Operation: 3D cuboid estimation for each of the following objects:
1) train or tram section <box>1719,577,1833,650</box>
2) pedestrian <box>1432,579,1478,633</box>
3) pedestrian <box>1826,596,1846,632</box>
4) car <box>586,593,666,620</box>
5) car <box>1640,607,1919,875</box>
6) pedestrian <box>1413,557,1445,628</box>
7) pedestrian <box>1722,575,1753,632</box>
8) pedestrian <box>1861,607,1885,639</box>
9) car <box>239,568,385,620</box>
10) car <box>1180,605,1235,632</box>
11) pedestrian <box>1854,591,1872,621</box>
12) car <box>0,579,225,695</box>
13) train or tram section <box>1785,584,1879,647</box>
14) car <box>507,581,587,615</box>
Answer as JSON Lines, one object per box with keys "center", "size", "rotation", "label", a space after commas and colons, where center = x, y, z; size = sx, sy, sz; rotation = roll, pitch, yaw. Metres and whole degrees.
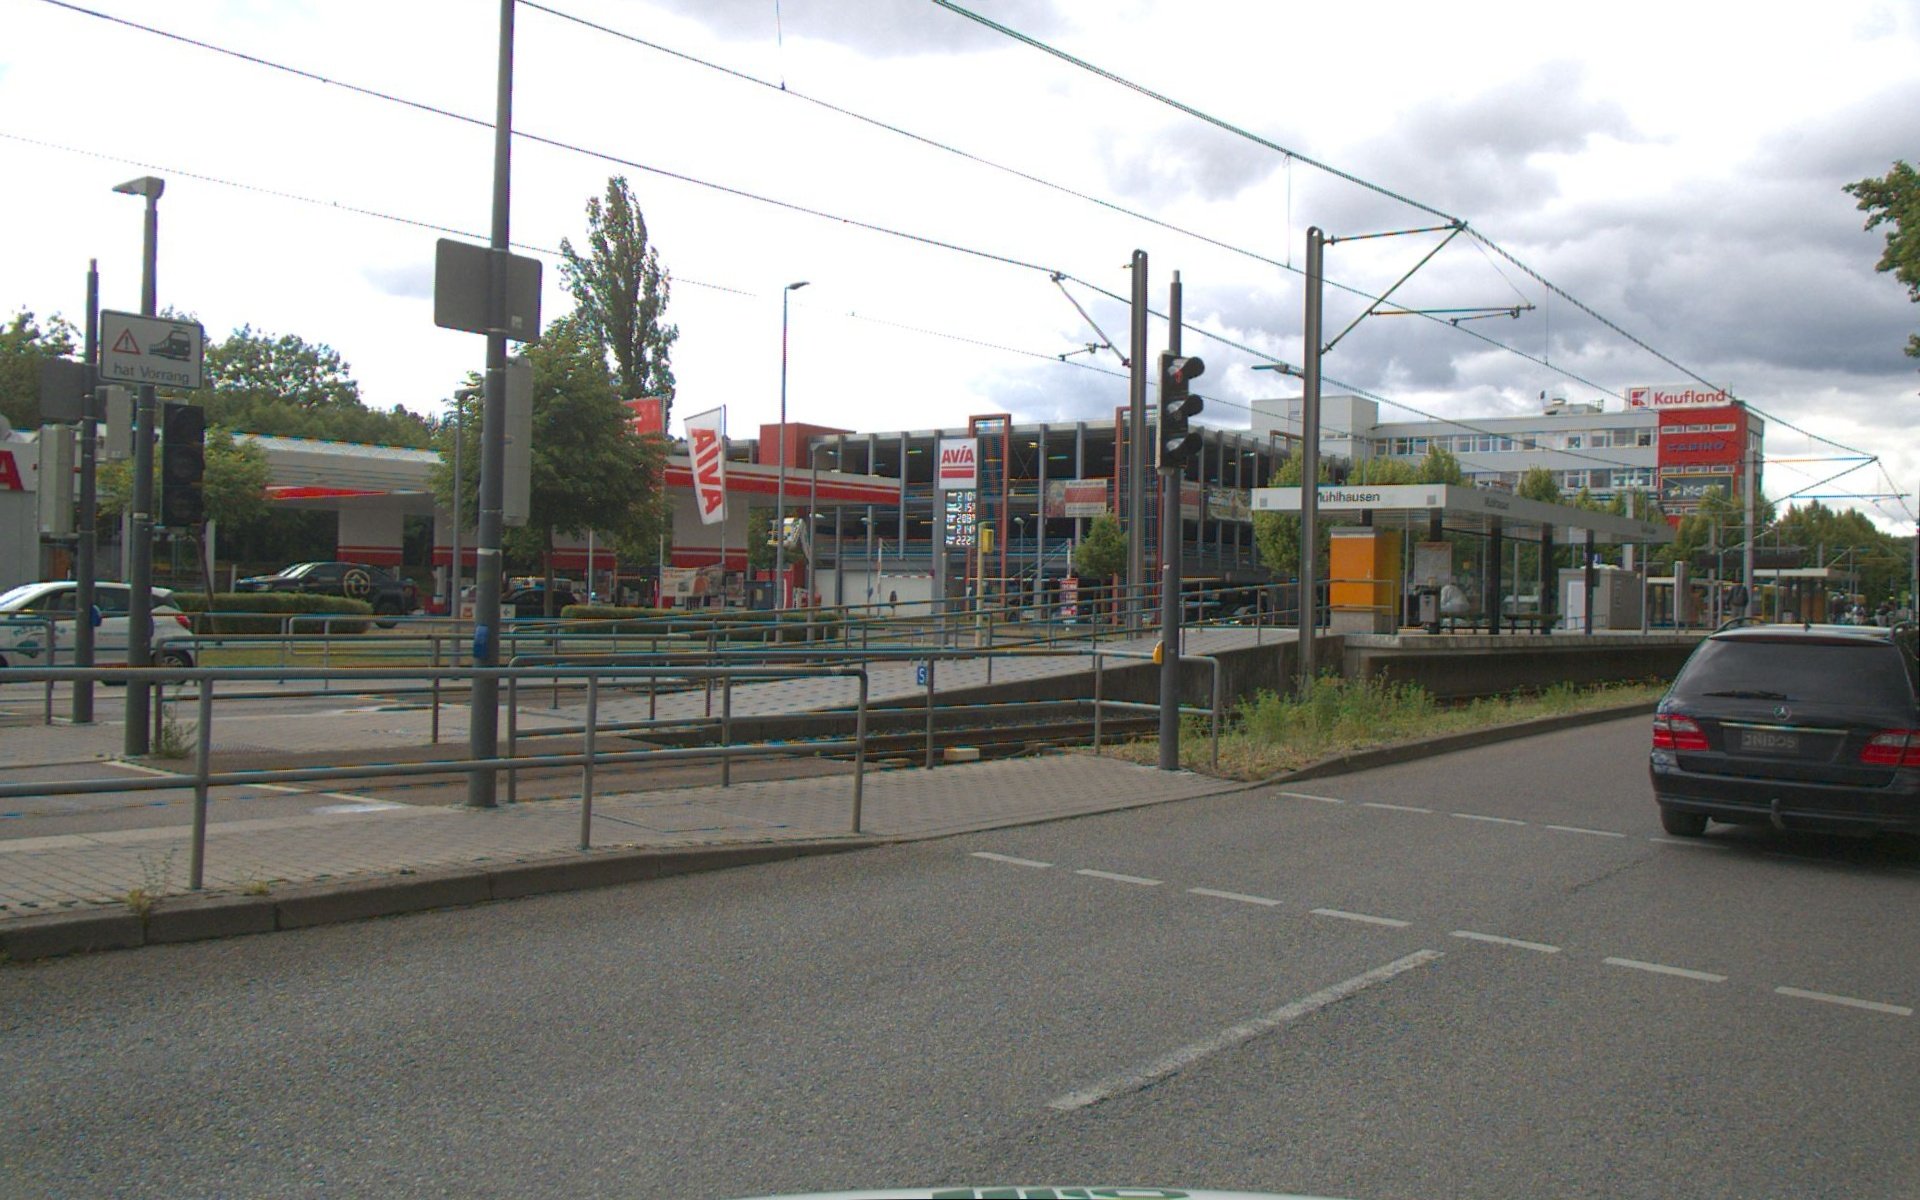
{"center": [48.594, 0.820, 98.040], "size": [2.711, 3.951, 18.552], "rotation": [1, 0, 37], "label": "train or tram section"}
{"center": [11.234, 0.135, 37.524], "size": [0.757, 1.210, 0.724], "rotation": [1, -1, 40], "label": "pedestrian"}
{"center": [41.537, 0.664, 78.415], "size": [0.758, 1.707, 0.788], "rotation": [-1, -2, 35], "label": "pedestrian"}
{"center": [-17.892, 0.370, 88.824], "size": [1.876, 1.389, 4.045], "rotation": [0, -2, 34], "label": "car"}
{"center": [6.342, 0.844, 11.747], "size": [1.803, 1.503, 4.399], "rotation": [2, 1, 36], "label": "car"}
{"center": [11.152, -0.168, 39.308], "size": [0.560, 1.649, 0.584], "rotation": [-1, -2, 36], "label": "pedestrian"}
{"center": [24.493, 0.124, 52.075], "size": [0.736, 1.775, 0.933], "rotation": [-1, -2, 36], "label": "pedestrian"}
{"center": [48.162, 1.219, 87.265], "size": [0.857, 1.707, 0.743], "rotation": [1, -2, -11], "label": "pedestrian"}
{"center": [-18.606, -0.162, 47.590], "size": [1.587, 1.373, 3.619], "rotation": [1, 0, 38], "label": "car"}
{"center": [15.206, 1.156, 101.381], "size": [1.747, 1.566, 3.985], "rotation": [0, -1, 35], "label": "car"}
{"center": [44.932, 0.302, 82.273], "size": [0.570, 1.508, 0.518], "rotation": [1, -2, -16], "label": "pedestrian"}
{"center": [-12.188, 0.482, 22.357], "size": [1.601, 1.480, 3.811], "rotation": [1, -1, 38], "label": "car"}
{"center": [59.724, 0.985, 112.944], "size": [2.711, 3.895, 18.554], "rotation": [3, 2, 37], "label": "train or tram section"}
{"center": [-22.793, -0.089, 91.364], "size": [1.876, 1.783, 4.045], "rotation": [0, -2, 34], "label": "car"}
